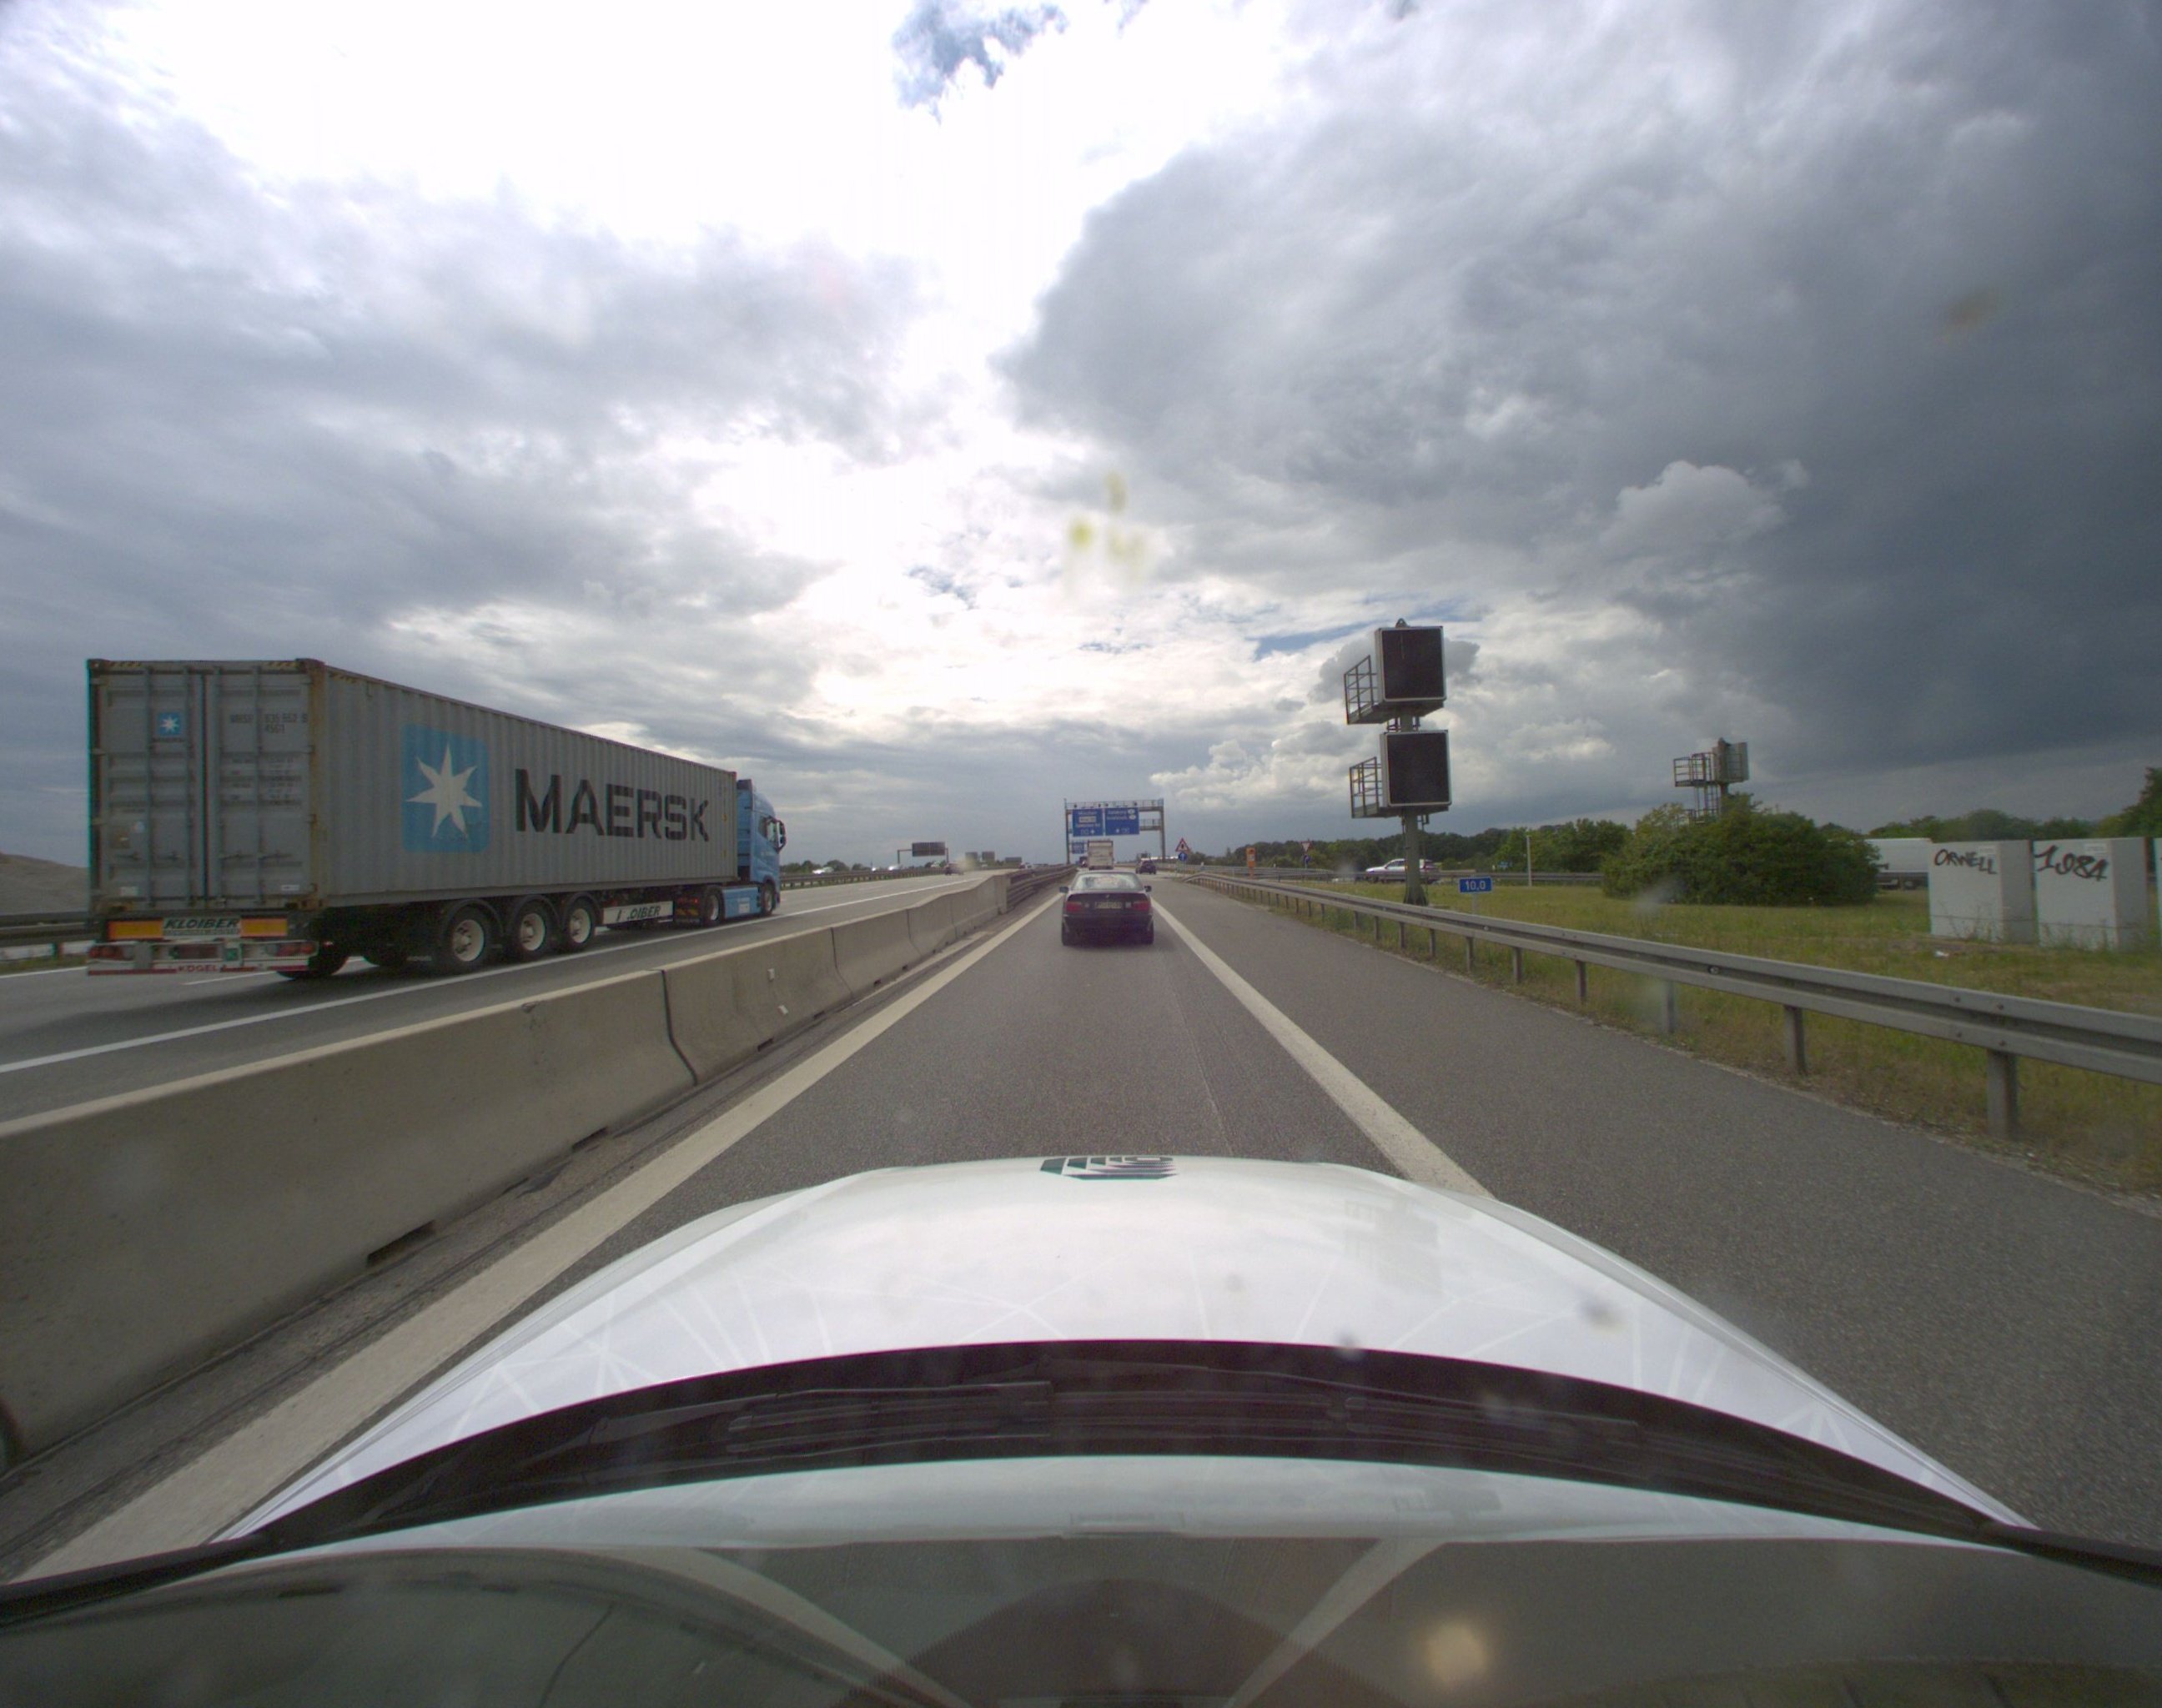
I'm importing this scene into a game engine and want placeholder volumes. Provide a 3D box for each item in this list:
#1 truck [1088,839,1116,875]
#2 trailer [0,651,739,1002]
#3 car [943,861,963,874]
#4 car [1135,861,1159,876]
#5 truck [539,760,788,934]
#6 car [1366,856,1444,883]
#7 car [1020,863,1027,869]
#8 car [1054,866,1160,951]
[{"bbox_3d":[1.845,0.297,72.934,2.396,3.090,6.370,-1,0,0],"label":"truck"},{"bbox_3d":[-10.561,-0.251,15.350,3.227,3.924,12.372,0,-1,-1],"label":"trailer"},{"bbox_3d":[-15.556,1.612,99.269,1.887,1.597,4.414,-1,0,-2],"label":"car"},{"bbox_3d":[6.937,1.479,85.818,1.990,1.552,3.994,0,-1,-4],"label":"car"},{"bbox_3d":[-10.647,-0.138,21.742,3.237,3.912,6.607,-1,-1,-1],"label":"truck"},{"bbox_3d":[20.541,1.021,51.707,1.952,1.685,4.158,2,-3,-42],"label":"car"},{"bbox_3d":[-17.177,3.459,242.979,1.988,1.662,4.380,-1,0,-2],"label":"car"},{"bbox_3d":[0.523,0.963,15.888,1.775,1.378,4.139,-1,0,2],"label":"car"}]
